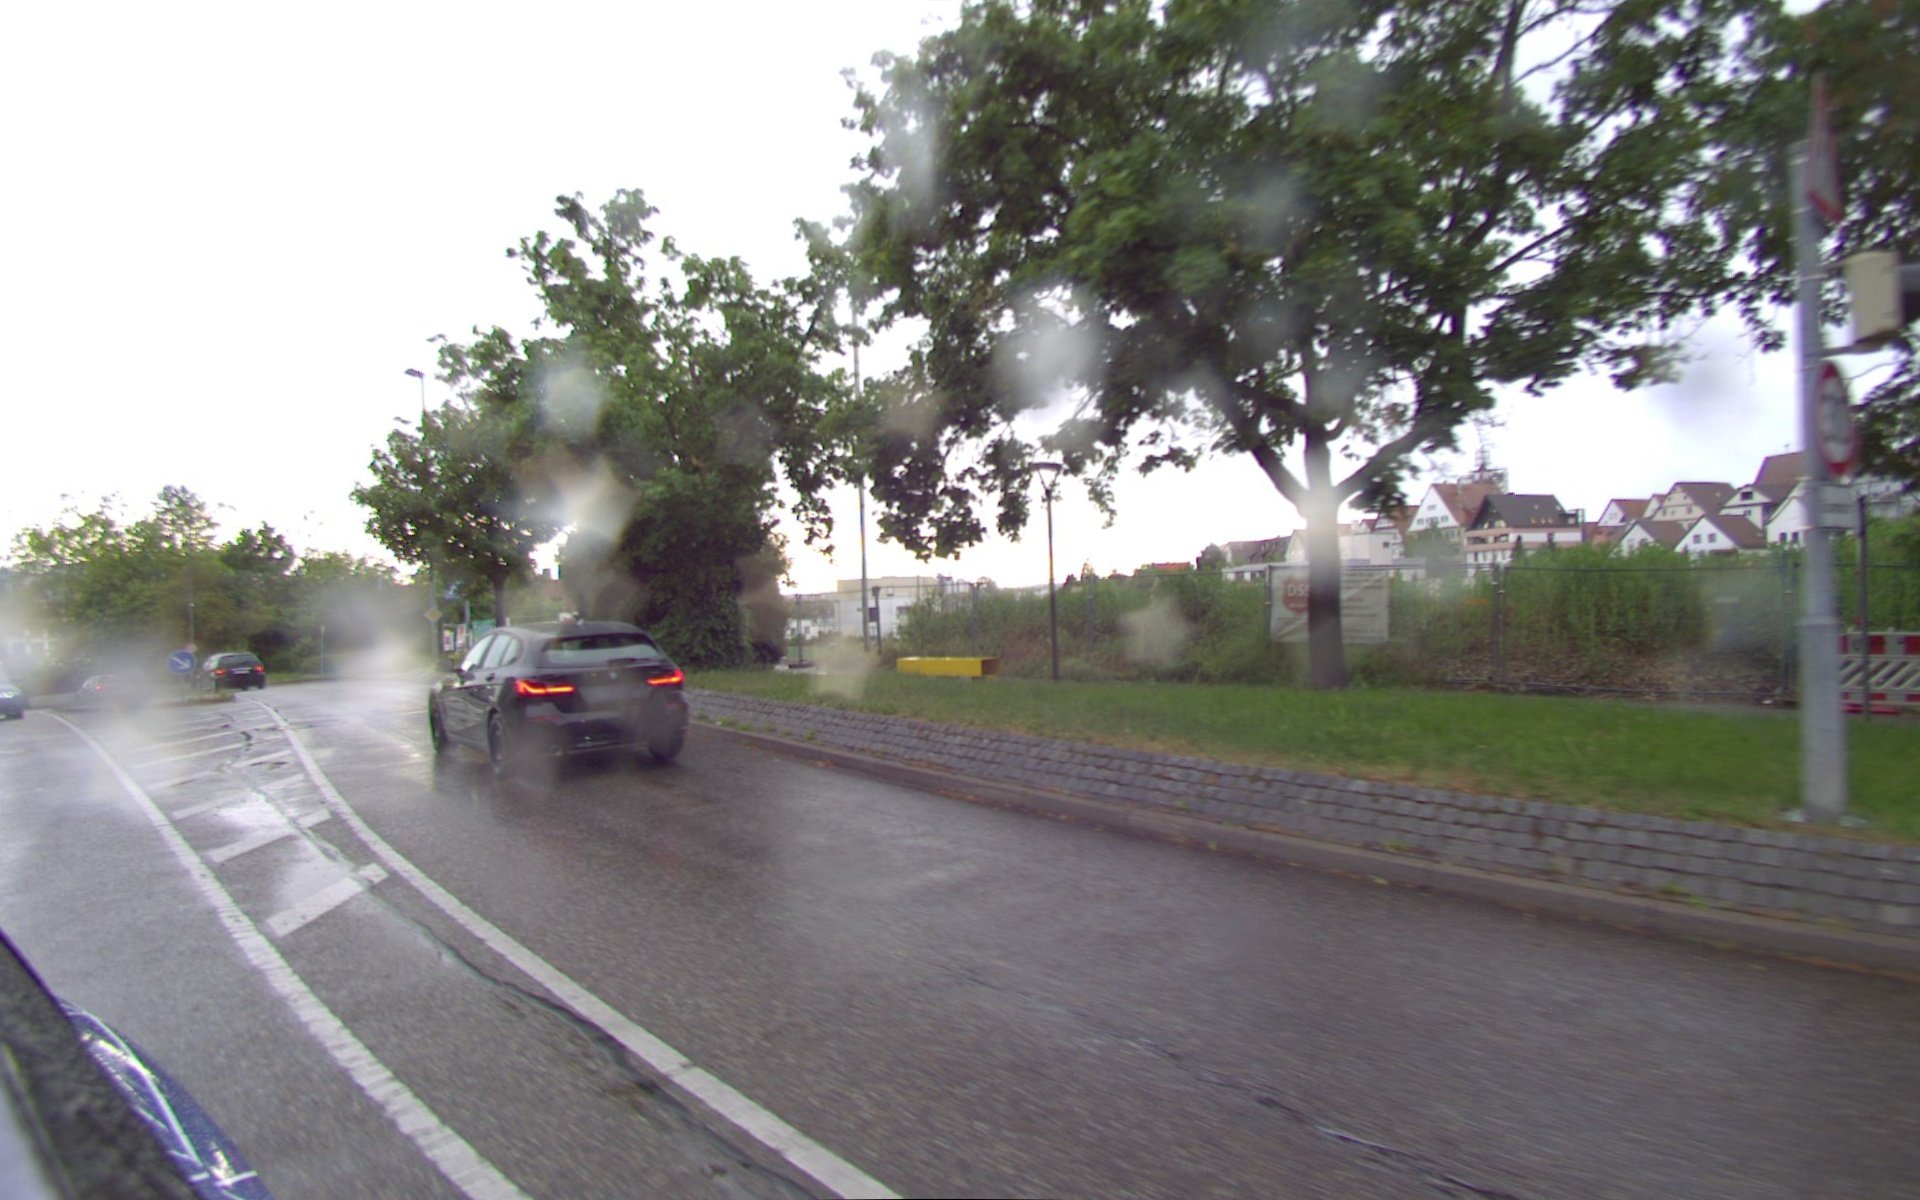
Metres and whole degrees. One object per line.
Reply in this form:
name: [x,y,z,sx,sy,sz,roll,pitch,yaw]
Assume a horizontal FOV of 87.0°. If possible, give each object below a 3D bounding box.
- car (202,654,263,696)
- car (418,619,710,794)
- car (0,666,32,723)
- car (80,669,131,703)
car: [-29.943,3.052,41.618,1.620,1.532,4.076,-3,-1,-41]
car: [-4.344,0.948,10.716,1.713,1.421,4.062,-2,0,-39]
car: [-25.537,2.562,26.428,1.764,1.357,4.950,-4,-2,-42]
car: [-47.143,4.722,55.814,4.155,1.563,1.626,-4,2,44]
